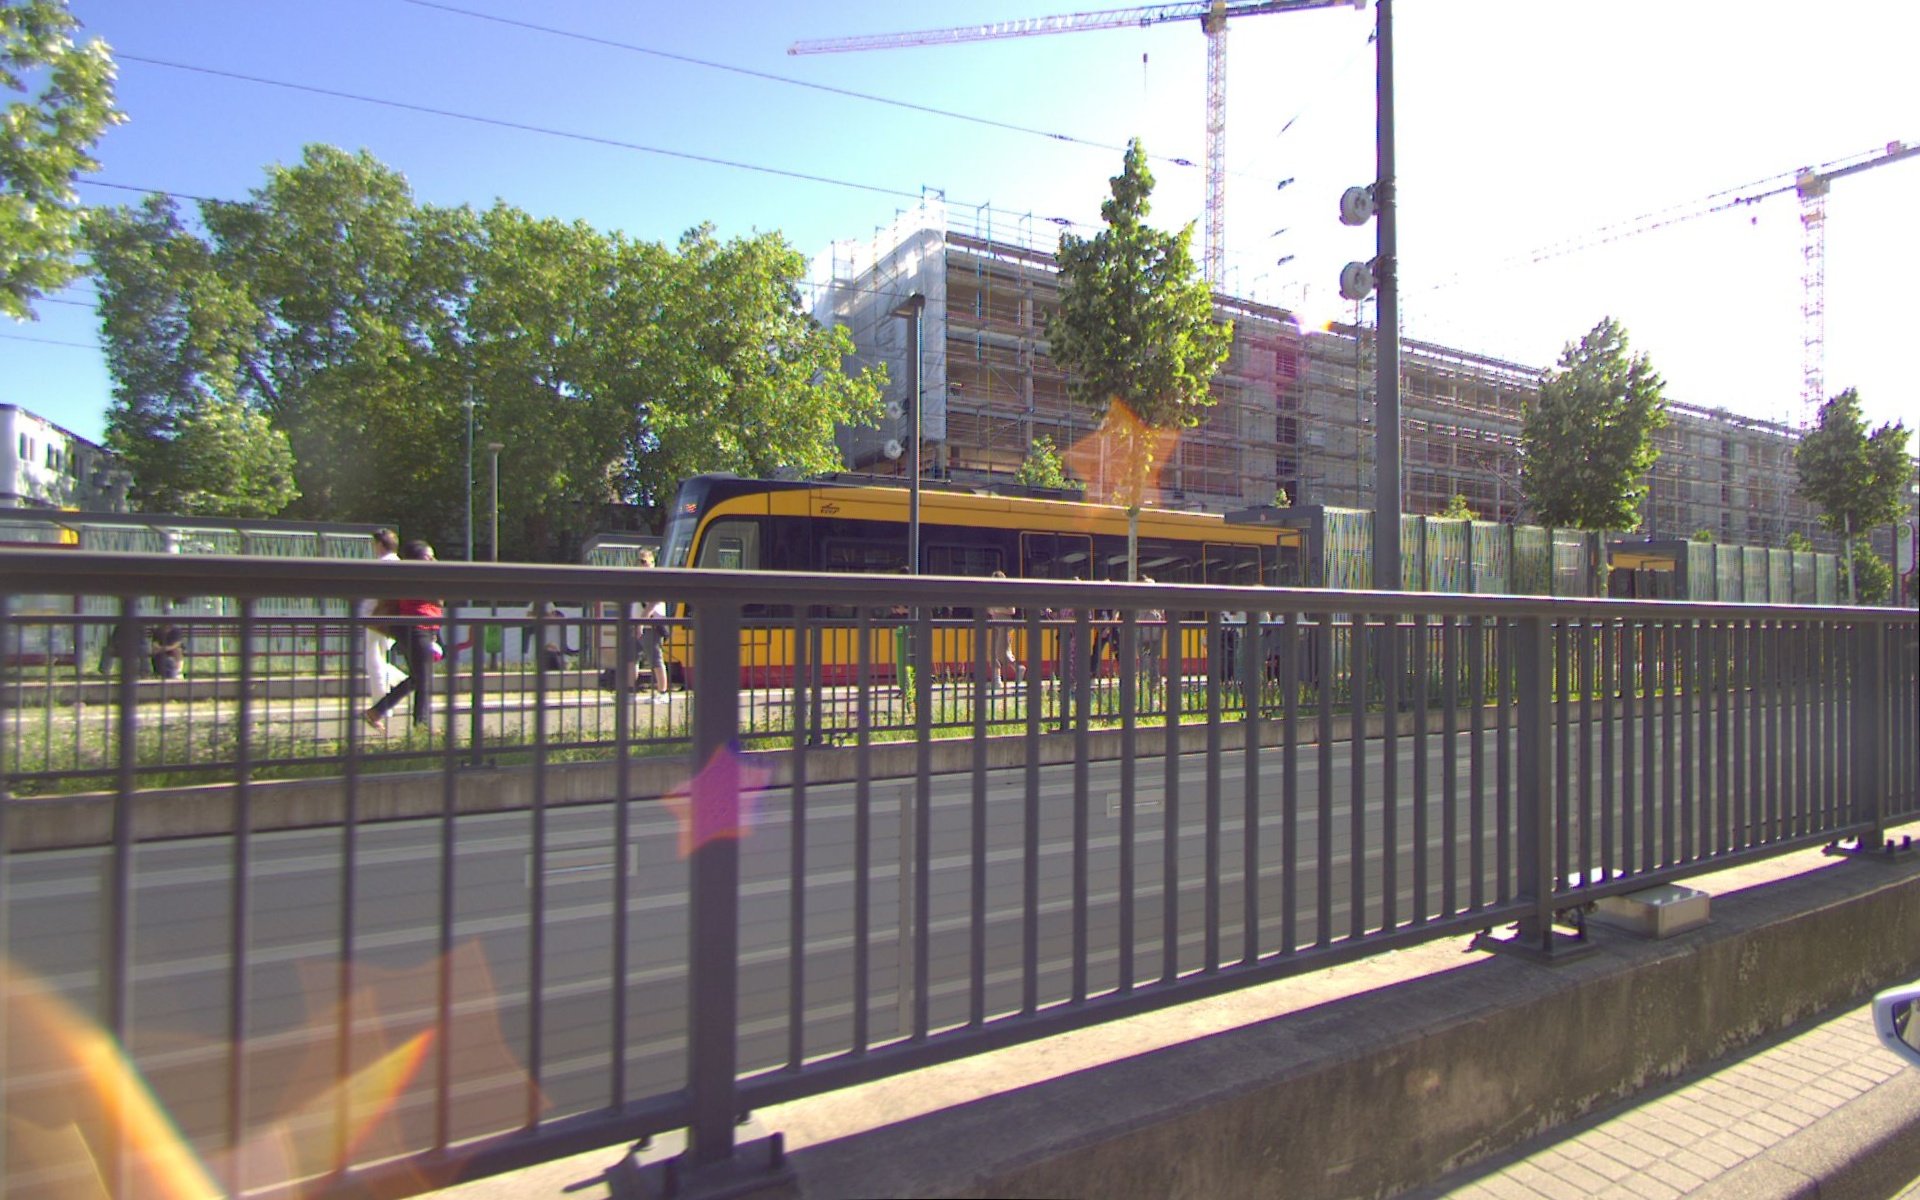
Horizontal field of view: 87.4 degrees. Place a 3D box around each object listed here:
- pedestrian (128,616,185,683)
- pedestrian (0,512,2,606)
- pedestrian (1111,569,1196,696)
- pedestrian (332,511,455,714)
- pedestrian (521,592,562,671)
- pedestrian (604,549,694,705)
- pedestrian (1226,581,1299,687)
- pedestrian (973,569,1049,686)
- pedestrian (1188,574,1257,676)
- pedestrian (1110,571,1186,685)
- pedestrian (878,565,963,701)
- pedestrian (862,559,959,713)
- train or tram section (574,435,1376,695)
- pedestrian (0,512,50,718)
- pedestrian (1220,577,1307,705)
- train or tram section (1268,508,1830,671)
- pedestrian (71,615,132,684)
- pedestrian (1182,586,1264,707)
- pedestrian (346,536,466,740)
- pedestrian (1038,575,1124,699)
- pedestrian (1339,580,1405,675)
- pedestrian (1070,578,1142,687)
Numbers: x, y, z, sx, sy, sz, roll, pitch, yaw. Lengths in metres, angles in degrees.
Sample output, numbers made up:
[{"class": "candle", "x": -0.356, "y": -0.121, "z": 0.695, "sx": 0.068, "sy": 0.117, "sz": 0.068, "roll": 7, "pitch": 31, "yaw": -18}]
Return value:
[{"class": "pedestrian", "x": -13.961, "y": 0.849, "z": 17.460, "sx": 0.675, "sy": 1.144, "sz": 0.652, "roll": 1, "pitch": -1, "yaw": -32}, {"class": "pedestrian", "x": -8.797, "y": 0.124, "z": 8.351, "sx": 1.019, "sy": 1.834, "sz": 0.766, "roll": 1, "pitch": -1, "yaw": -31}, {"class": "pedestrian", "x": 2.614, "y": 0.437, "z": 13.593, "sx": 0.851, "sy": 1.650, "sz": 0.738, "roll": 1, "pitch": -1, "yaw": -29}, {"class": "pedestrian", "x": -5.583, "y": 0.132, "z": 9.933, "sx": 0.995, "sy": 1.875, "sz": 0.883, "roll": 1, "pitch": -1, "yaw": -30}, {"class": "pedestrian", "x": -8.801, "y": 0.664, "z": 21.120, "sx": 0.675, "sy": 1.613, "sz": 0.652, "roll": 1, "pitch": -1, "yaw": -32}, {"class": "pedestrian", "x": -3.593, "y": 0.305, "z": 11.599, "sx": 0.851, "sy": 1.717, "sz": 0.738, "roll": 1, "pitch": -1, "yaw": -29}, {"class": "pedestrian", "x": 4.856, "y": 0.542, "z": 16.145, "sx": 0.851, "sy": 1.650, "sz": 0.738, "roll": 1, "pitch": -1, "yaw": -29}, {"class": "pedestrian", "x": 0.742, "y": 0.401, "z": 14.676, "sx": 0.851, "sy": 1.650, "sz": 0.738, "roll": 1, "pitch": -1, "yaw": -29}, {"class": "pedestrian", "x": 4.410, "y": 0.421, "z": 16.887, "sx": 0.851, "sy": 1.650, "sz": 0.738, "roll": 1, "pitch": -1, "yaw": -29}, {"class": "pedestrian", "x": 2.826, "y": 0.423, "z": 15.097, "sx": 0.851, "sy": 1.650, "sz": 0.738, "roll": 1, "pitch": -1, "yaw": -29}, {"class": "pedestrian", "x": -0.506, "y": 0.414, "z": 12.773, "sx": 0.851, "sy": 1.650, "sz": 0.738, "roll": 1, "pitch": -1, "yaw": -29}, {"class": "pedestrian", "x": -0.560, "y": 0.398, "z": 11.327, "sx": 0.851, "sy": 1.650, "sz": 0.738, "roll": 1, "pitch": -1, "yaw": -29}, {"class": "train or tram section", "x": 1.287, "y": -0.362, "z": 17.902, "sx": 15.006, "sy": 3.323, "sz": 2.856, "roll": 1, "pitch": 1, "yaw": -30}, {"class": "pedestrian", "x": -9.037, "y": 0.135, "z": 9.075, "sx": 1.062, "sy": 1.834, "sz": 0.668, "roll": 1, "pitch": -1, "yaw": -31}, {"class": "pedestrian", "x": 4.053, "y": 0.538, "z": 13.446, "sx": 0.851, "sy": 1.650, "sz": 0.738, "roll": 1, "pitch": -1, "yaw": -29}, {"class": "train or tram section", "x": 17.187, "y": -0.086, "z": 27.257, "sx": 21.882, "sy": 3.323, "sz": 2.856, "roll": 1, "pitch": 1, "yaw": -31}, {"class": "pedestrian", "x": -14.586, "y": 0.832, "z": 17.074, "sx": 0.675, "sy": 1.144, "sz": 0.652, "roll": 1, "pitch": -1, "yaw": -32}, {"class": "pedestrian", "x": 3.706, "y": 0.645, "z": 14.159, "sx": 0.851, "sy": 1.650, "sz": 0.738, "roll": 1, "pitch": -1, "yaw": -29}, {"class": "pedestrian", "x": -4.763, "y": 0.319, "z": 8.670, "sx": 0.851, "sy": 1.650, "sz": 0.738, "roll": 1, "pitch": -1, "yaw": -29}, {"class": "pedestrian", "x": 1.679, "y": 0.506, "z": 13.953, "sx": 0.935, "sy": 1.650, "sz": 0.738, "roll": 1, "pitch": -1, "yaw": -29}, {"class": "pedestrian", "x": 7.414, "y": 0.492, "z": 18.082, "sx": 0.851, "sy": 1.650, "sz": 0.738, "roll": 1, "pitch": -1, "yaw": -29}, {"class": "pedestrian", "x": 2.276, "y": 0.502, "z": 15.674, "sx": 0.851, "sy": 1.650, "sz": 0.738, "roll": 1, "pitch": -1, "yaw": -29}]
